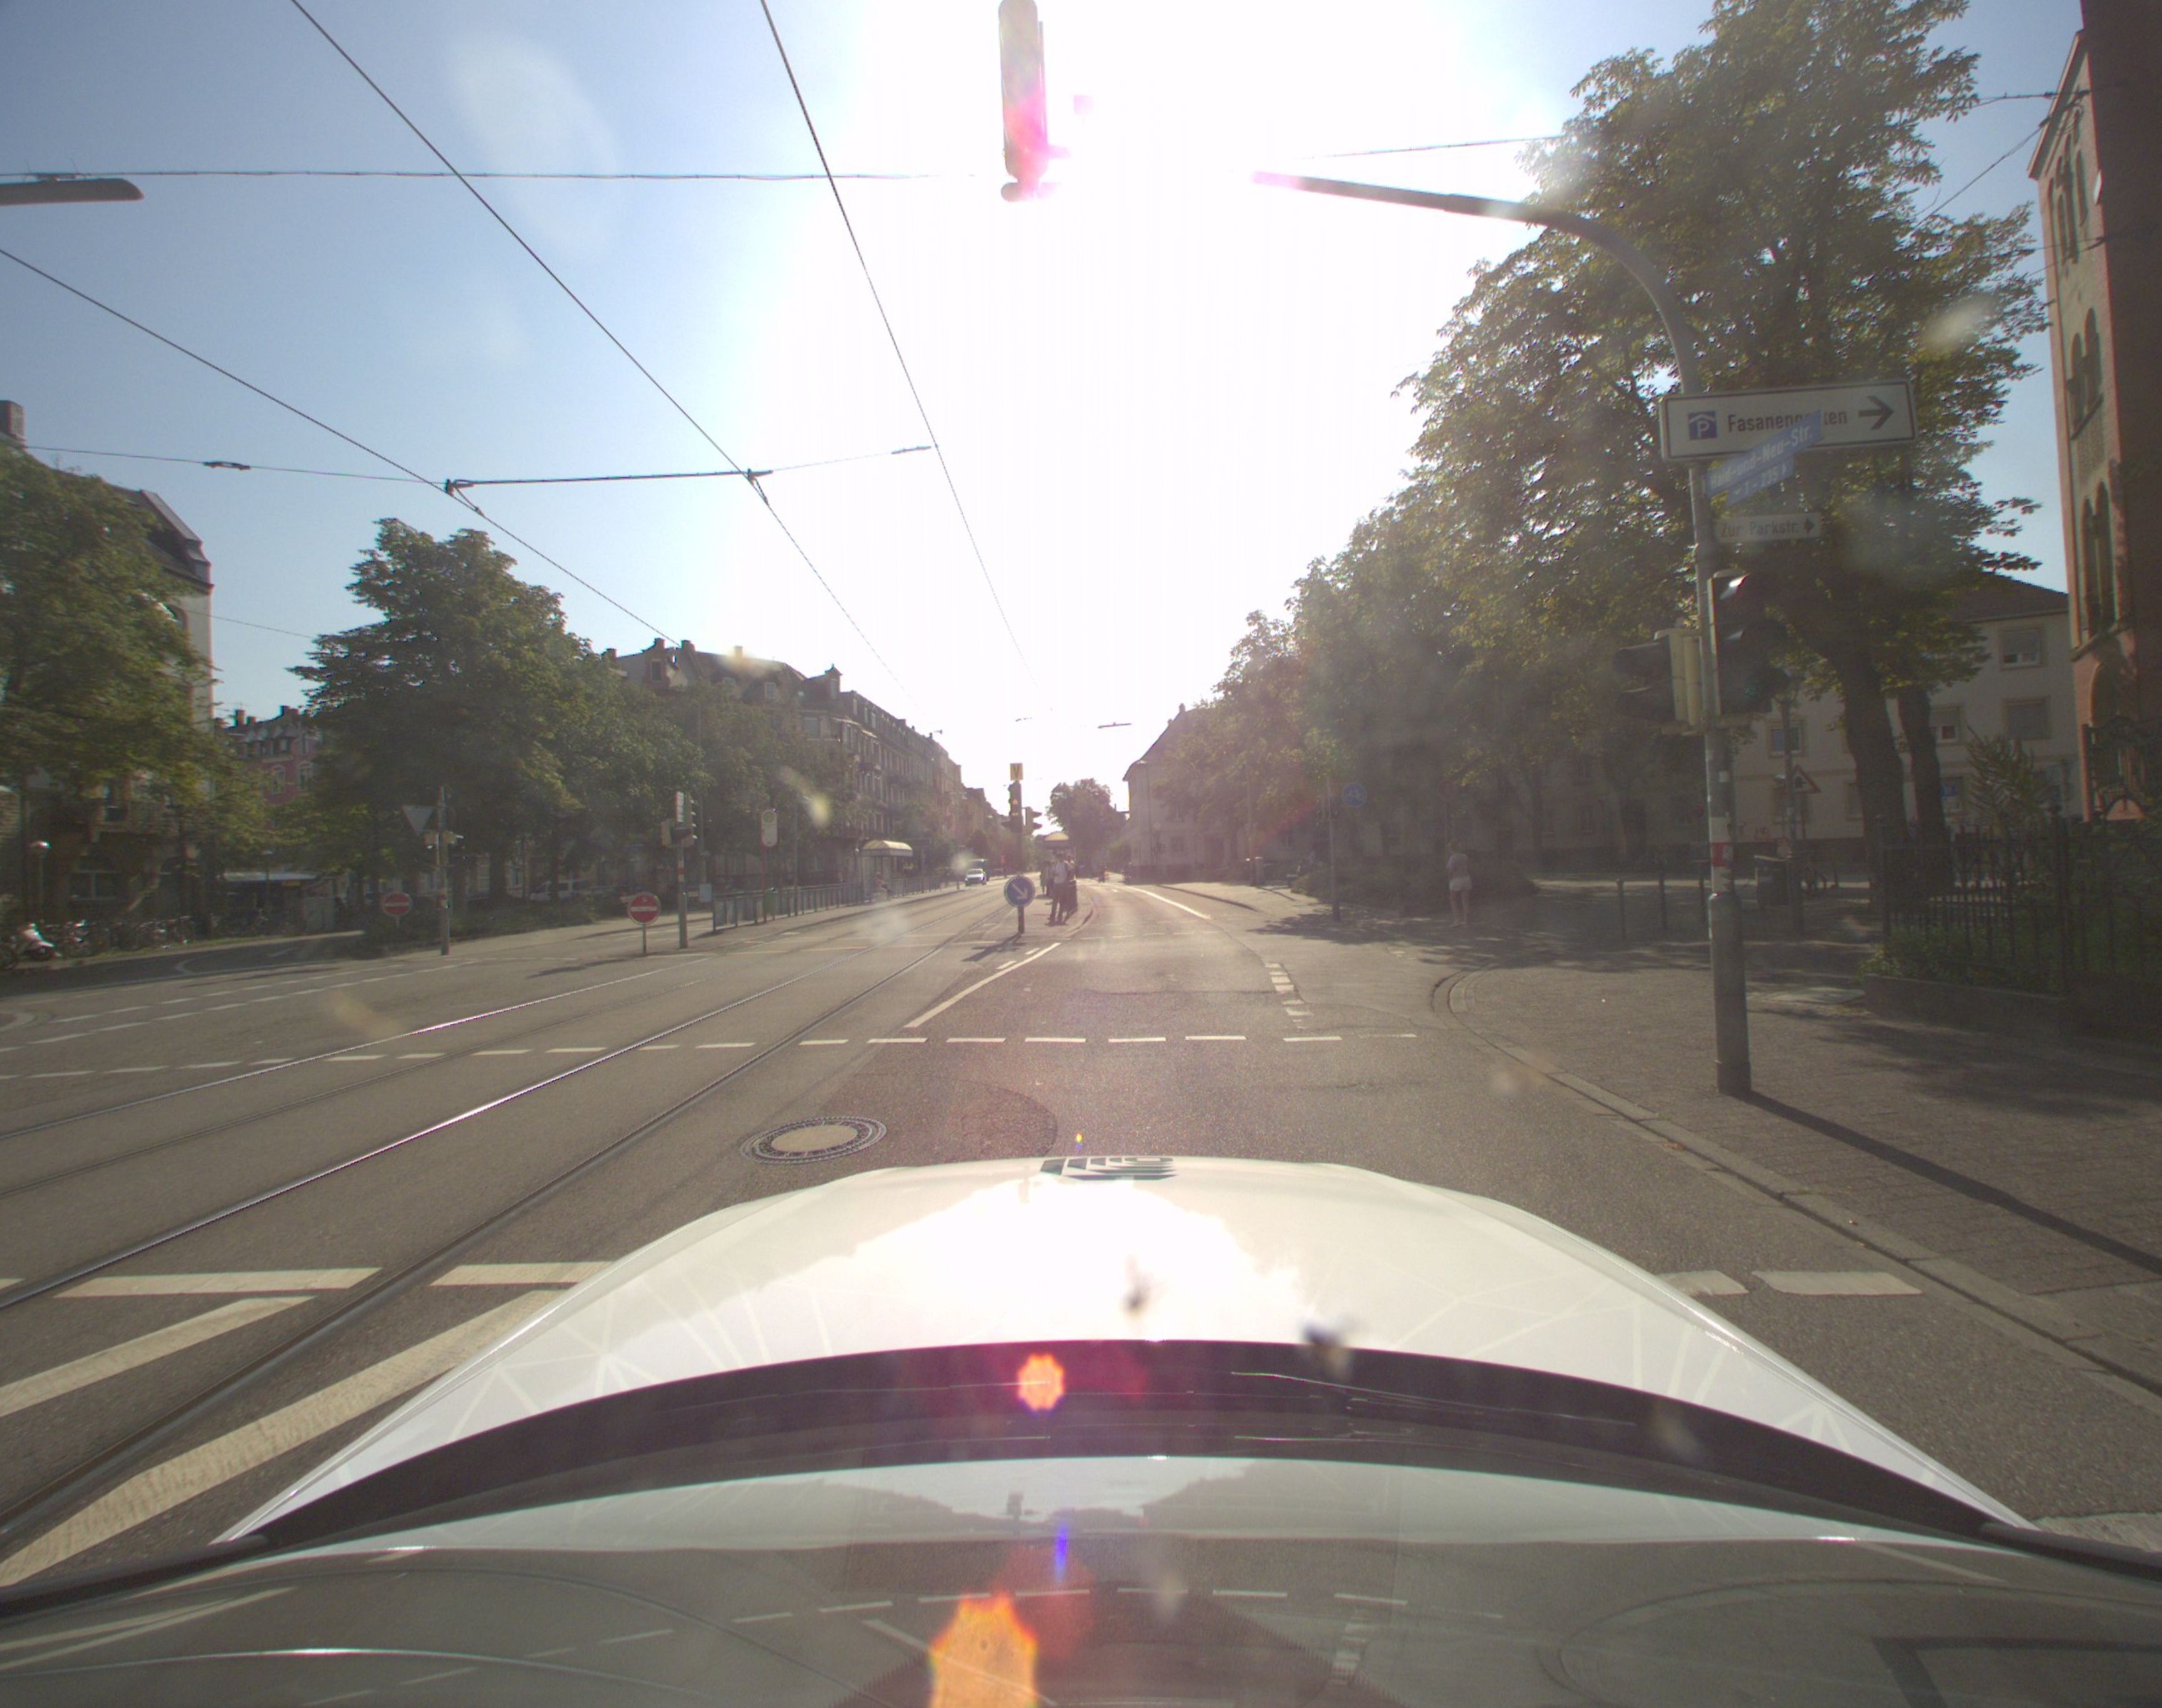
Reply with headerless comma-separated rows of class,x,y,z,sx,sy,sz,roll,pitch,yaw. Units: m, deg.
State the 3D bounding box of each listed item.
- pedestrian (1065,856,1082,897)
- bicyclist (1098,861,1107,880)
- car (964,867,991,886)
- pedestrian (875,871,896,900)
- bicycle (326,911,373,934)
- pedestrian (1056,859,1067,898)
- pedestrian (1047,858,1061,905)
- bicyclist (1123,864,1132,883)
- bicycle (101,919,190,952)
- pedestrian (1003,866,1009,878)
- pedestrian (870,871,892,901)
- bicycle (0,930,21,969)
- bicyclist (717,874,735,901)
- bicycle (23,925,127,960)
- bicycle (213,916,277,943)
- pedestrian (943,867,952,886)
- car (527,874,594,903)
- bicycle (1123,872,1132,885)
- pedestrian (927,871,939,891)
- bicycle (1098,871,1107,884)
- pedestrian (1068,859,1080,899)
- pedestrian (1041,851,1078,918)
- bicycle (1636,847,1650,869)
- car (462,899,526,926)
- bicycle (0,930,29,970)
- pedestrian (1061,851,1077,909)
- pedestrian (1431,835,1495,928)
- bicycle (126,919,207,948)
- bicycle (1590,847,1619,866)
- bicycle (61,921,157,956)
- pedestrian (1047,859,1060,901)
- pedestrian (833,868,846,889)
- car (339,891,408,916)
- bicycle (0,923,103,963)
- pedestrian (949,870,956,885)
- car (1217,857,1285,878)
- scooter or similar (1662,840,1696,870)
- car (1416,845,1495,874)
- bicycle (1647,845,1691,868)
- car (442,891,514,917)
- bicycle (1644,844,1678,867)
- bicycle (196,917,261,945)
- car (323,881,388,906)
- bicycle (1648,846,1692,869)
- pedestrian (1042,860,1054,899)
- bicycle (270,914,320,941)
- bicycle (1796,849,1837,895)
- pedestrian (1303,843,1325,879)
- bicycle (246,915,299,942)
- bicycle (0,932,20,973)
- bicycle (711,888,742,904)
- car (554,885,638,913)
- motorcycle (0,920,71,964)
pedestrian,-0.308,0.957,35.098,0.706,1.759,0.534,0,1,0
bicyclist,1.788,1.374,68.628,0.627,1.507,0.678,-3,-1,-2
car,-9.868,2.109,77.563,1.794,1.653,3.646,-3,-1,4
pedestrian,-9.477,1.532,39.469,0.826,1.359,0.775,-3,-1,-5
bicycle,-34.477,3.214,38.371,1.755,0.978,0.606,-3,-1,7
pedestrian,-0.898,1.139,37.711,0.502,1.759,0.534,0,1,0
pedestrian,-1.034,1.032,30.896,0.502,1.759,0.534,0,1,0
bicyclist,3.640,1.546,64.332,0.556,1.417,0.871,-3,-1,-2
bicycle,-32.534,2.818,28.355,1.908,0.980,0.679,-1,-2,-34
pedestrian,-10.746,2.540,116.950,0.750,1.731,0.769,-2,-1,-9
pedestrian,-9.454,1.515,38.493,0.826,1.359,0.775,-3,-1,-5
bicycle,-29.103,2.543,21.161,1.814,0.977,0.652,-1,-2,-41
bicyclist,-25.145,2.351,57.697,0.486,1.857,0.996,-3,-1,39
bicycle,-31.566,2.765,25.599,1.920,0.935,0.730,-1,-2,-34
bicycle,-35.426,3.180,34.521,1.772,0.978,0.600,-3,-1,-24
pedestrian,-12.487,2.146,76.223,0.750,1.731,0.769,-2,-1,-9
car,-37.404,2.486,58.537,3.953,1.828,2.010,-3,-1,21
bicycle,3.666,1.943,64.312,0.556,0.978,1.855,-3,-1,-2
pedestrian,-12.773,2.316,70.295,0.747,1.731,0.772,-3,-1,2
bicycle,1.810,1.971,68.621,0.627,0.978,1.769,-3,-1,-2
pedestrian,-0.314,1.093,35.714,0.502,1.759,0.534,0,1,0
pedestrian,-0.567,0.808,21.934,0.693,1.725,0.753,1,2,33
bicycle,26.442,0.177,38.296,0.420,0.978,1.566,-3,-1,38
car,-44.202,4.378,61.304,3.953,1.828,2.010,-3,-1,21
bicycle,-28.240,2.494,20.653,1.814,0.983,0.652,-1,-2,-41
pedestrian,-0.395,0.817,26.201,0.502,1.834,0.534,0,1,0
pedestrian,7.422,0.531,15.853,0.750,1.731,0.769,-2,-1,-9
bicycle,-33.323,2.885,29.688,1.877,0.935,0.635,-2,-2,-19
bicycle,27.670,0.124,43.077,0.423,0.978,1.554,-3,-1,-3
bicycle,-32.180,2.788,26.997,1.908,0.980,0.679,-1,-2,-34
pedestrian,-1.166,1.105,34.902,0.541,1.759,0.534,0,1,0
pedestrian,-20.375,2.071,68.657,0.775,1.731,0.743,-2,-1,-39
car,-52.158,3.662,60.061,4.285,1.569,2.010,-3,-1,21
bicycle,-30.966,2.672,24.484,1.886,1.027,0.657,-1,-2,-34
pedestrian,-14.832,2.750,94.270,0.750,1.731,0.769,-2,-1,-9
car,12.184,0.977,58.608,4.280,1.320,2.013,-3,-1,39
scooter or similar,26.573,0.047,36.207,1.059,1.197,0.462,-7,-2,32
car,20.546,0.321,44.877,1.856,1.418,3.982,-2,-1,-13
bicycle,26.715,0.131,37.036,1.539,0.978,0.427,-3,-1,14
car,-41.532,3.464,56.091,4.284,1.569,2.011,-3,-1,22
bicycle,27.366,0.072,38.419,1.555,1.039,0.423,-3,-1,-19
bicycle,-35.292,3.170,33.746,1.772,0.978,0.516,-3,-1,-23
car,-59.531,3.220,66.849,3.960,1.828,2.007,-3,-1,12
bicycle,26.551,0.147,36.732,1.539,0.978,0.427,-3,-1,14
pedestrian,-1.510,1.142,37.127,0.530,1.759,0.545,0,1,1
bicycle,-33.823,3.148,35.061,0.423,0.978,1.769,-3,-1,0
bicycle,17.216,0.409,19.054,1.779,0.978,0.421,-2,-1,-40
pedestrian,11.363,0.340,39.675,0.884,1.740,0.780,-3,-1,19
bicycle,-34.192,3.149,34.471,0.423,0.978,1.769,-3,-1,0
bicycle,-27.376,2.469,19.823,1.814,0.984,0.563,-1,-2,-41
bicycle,-25.118,2.955,57.689,0.490,0.978,1.955,-3,-1,39
car,-31.769,2.930,53.397,4.303,1.569,2.002,-3,-1,4
motorcycle,-30.659,2.547,23.437,1.882,1.154,0.601,-1,-2,-34
